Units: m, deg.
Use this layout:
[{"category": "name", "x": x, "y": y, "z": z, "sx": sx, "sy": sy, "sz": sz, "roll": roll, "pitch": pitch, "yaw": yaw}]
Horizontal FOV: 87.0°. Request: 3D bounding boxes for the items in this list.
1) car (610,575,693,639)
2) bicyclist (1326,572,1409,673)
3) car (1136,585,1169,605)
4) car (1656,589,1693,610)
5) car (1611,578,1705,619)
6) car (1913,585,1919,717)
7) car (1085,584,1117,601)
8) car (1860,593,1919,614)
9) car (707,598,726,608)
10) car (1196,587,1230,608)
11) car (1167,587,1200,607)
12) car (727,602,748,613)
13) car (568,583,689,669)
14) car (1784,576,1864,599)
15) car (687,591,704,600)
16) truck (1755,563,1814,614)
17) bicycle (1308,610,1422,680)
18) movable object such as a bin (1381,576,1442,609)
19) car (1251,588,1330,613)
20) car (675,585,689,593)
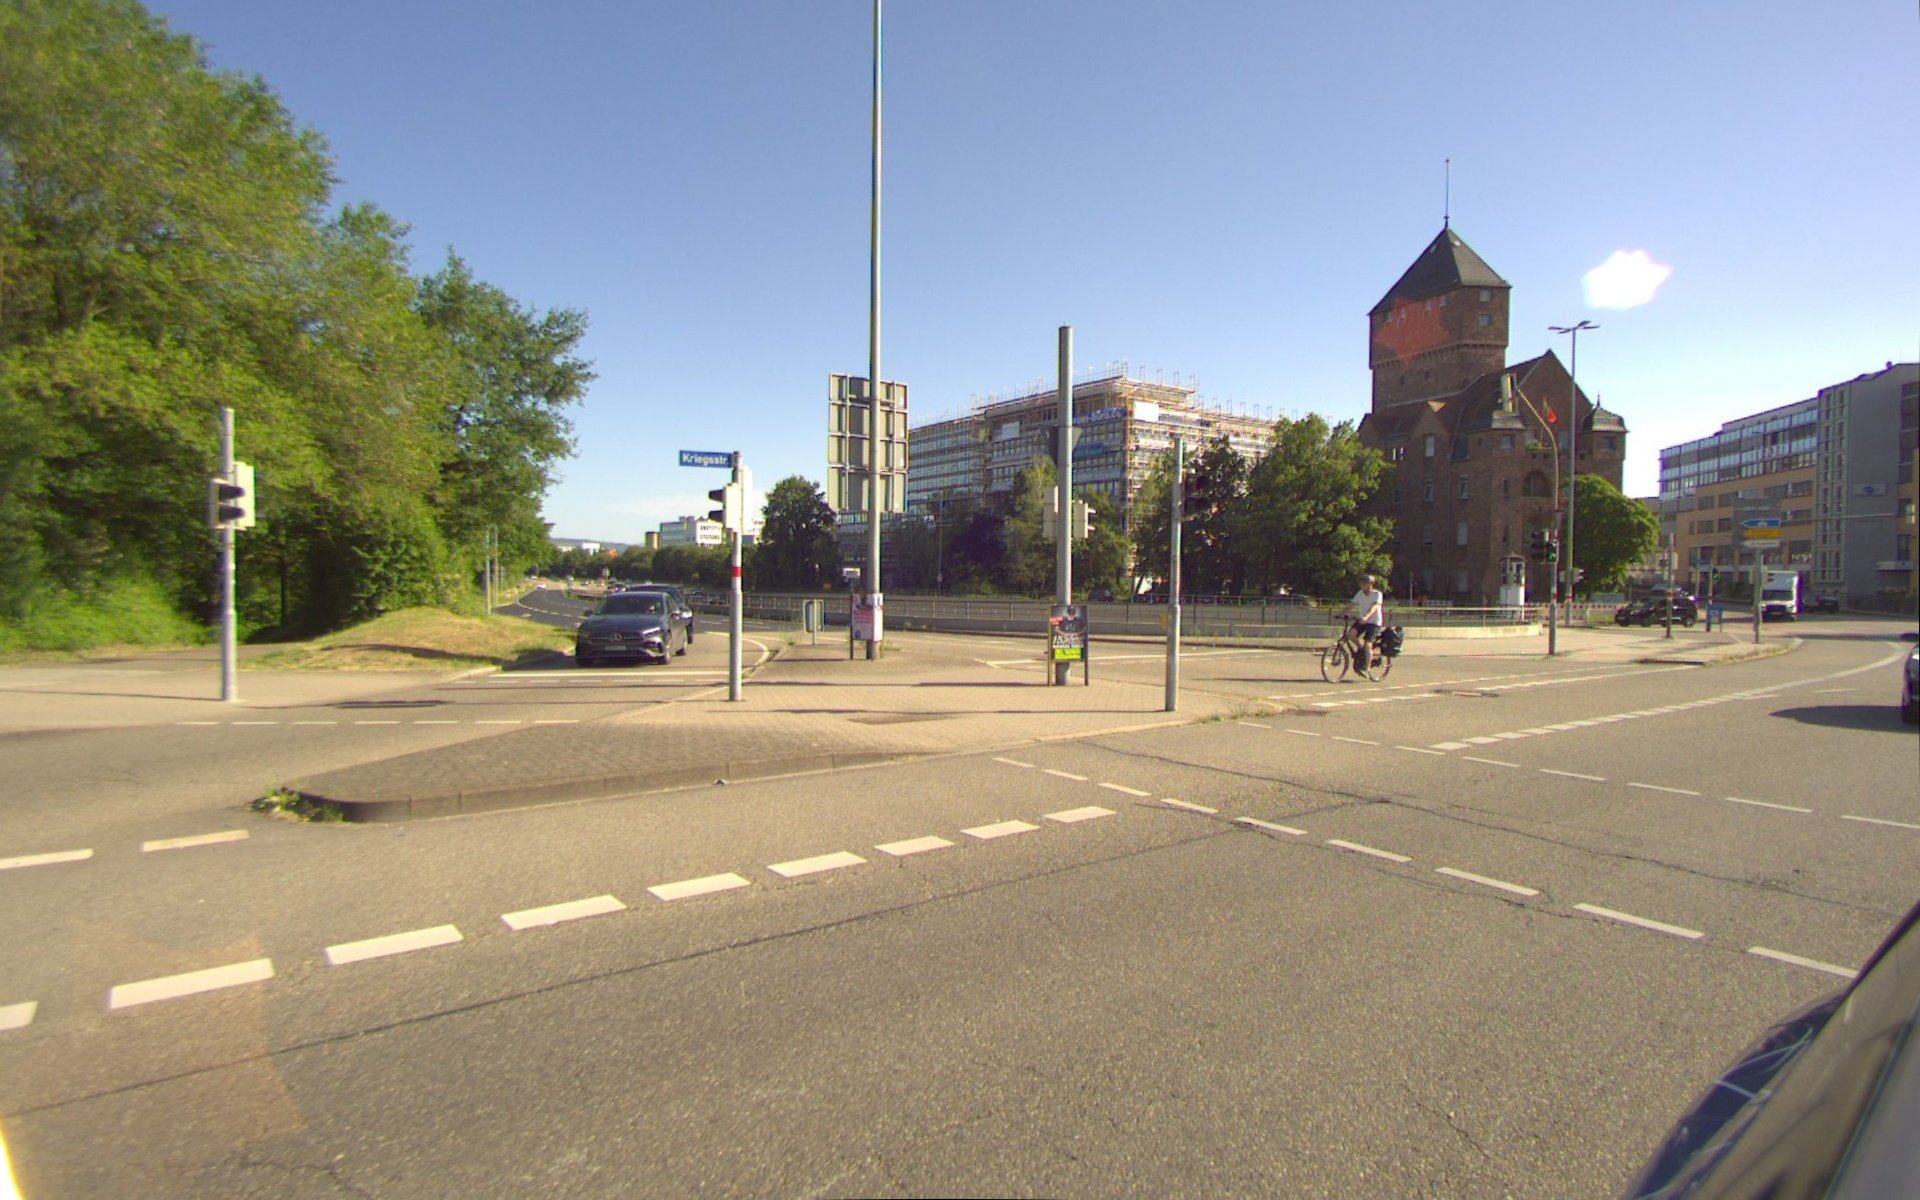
[{"category": "car", "x": -8.683, "y": 0.134, "z": 28.258, "sx": 1.822, "sy": 1.636, "sz": 4.688, "roll": 0, "pitch": 1, "yaw": -22}, {"category": "bicyclist", "x": 6.957, "y": 0.363, "z": 17.295, "sx": 1.089, "sy": 1.680, "sz": 0.728, "roll": 0, "pitch": 0, "yaw": -19}, {"category": "car", "x": 16.294, "y": -0.456, "z": 85.521, "sx": 1.978, "sy": 1.581, "sz": 3.752, "roll": 1, "pitch": 1, "yaw": 23}, {"category": "car", "x": 64.871, "y": -0.038, "z": 91.950, "sx": 1.738, "sy": 1.781, "sz": 4.748, "roll": 1, "pitch": 1, "yaw": 23}, {"category": "car", "x": 40.077, "y": -0.078, "z": 58.125, "sx": 4.684, "sy": 2.290, "sz": 1.956, "roll": 0, "pitch": 1, "yaw": -18}, {"category": "car", "x": 14.088, "y": 0.638, "z": 13.434, "sx": 4.127, "sy": 1.642, "sz": 1.876, "roll": -1, "pitch": 2, "yaw": -44}, {"category": "car", "x": 12.870, "y": -0.661, "z": 92.266, "sx": 1.978, "sy": 1.472, "sz": 3.752, "roll": 1, "pitch": 1, "yaw": 23}, {"category": "car", "x": 76.441, "y": 0.261, "z": 83.197, "sx": 1.612, "sy": 1.542, "sz": 4.150, "roll": 1, "pitch": 1, "yaw": 9}, {"category": "car", "x": -38.844, "y": 0.507, "z": 161.571, "sx": 1.960, "sy": 1.415, "sz": 4.006, "roll": -2, "pitch": 2, "yaw": -28}, {"category": "car", "x": 19.837, "y": -0.201, "z": 79.298, "sx": 1.978, "sy": 1.581, "sz": 3.752, "roll": 1, "pitch": 1, "yaw": 23}, {"category": "car", "x": 18.171, "y": -0.273, "z": 82.063, "sx": 1.978, "sy": 1.581, "sz": 3.752, "roll": 1, "pitch": 1, "yaw": 23}, {"category": "car", "x": -32.141, "y": 1.037, "z": 146.058, "sx": 1.960, "sy": 1.415, "sz": 4.006, "roll": -2, "pitch": 2, "yaw": -28}, {"category": "car", "x": -6.752, "y": 0.452, "z": 21.030, "sx": 1.822, "sy": 1.571, "sz": 4.253, "roll": 1, "pitch": 1, "yaw": -11}, {"category": "car", "x": 63.499, "y": -0.928, "z": 74.502, "sx": 1.916, "sy": 1.641, "sz": 4.781, "roll": 1, "pitch": 1, "yaw": 4}, {"category": "car", "x": -47.568, "y": -0.820, "z": 181.895, "sx": 1.960, "sy": 1.415, "sz": 4.006, "roll": -2, "pitch": 2, "yaw": -28}, {"category": "truck", "x": 53.442, "y": -0.785, "z": 65.735, "sx": 2.489, "sy": 3.167, "sz": 6.871, "roll": 1, "pitch": 1, "yaw": 35}, {"category": "bicycle", "x": 6.922, "y": 0.748, "z": 17.285, "sx": 1.788, "sy": 1.116, "sz": 0.695, "roll": 0, "pitch": 0, "yaw": -19}, {"category": "movable object such as a bin", "x": 34.704, "y": -0.606, "z": 77.852, "sx": 1.958, "sy": 2.439, "sz": 4.009, "roll": 0, "pitch": 1, "yaw": -21}, {"category": "car", "x": 21.821, "y": 0.000, "z": 66.957, "sx": 1.848, "sy": 1.489, "sz": 4.628, "roll": -1, "pitch": 2, "yaw": -42}, {"category": "car", "x": -56.452, "y": -2.217, "z": 205.363, "sx": 1.960, "sy": 1.415, "sz": 4.006, "roll": -2, "pitch": 2, "yaw": -28}]
